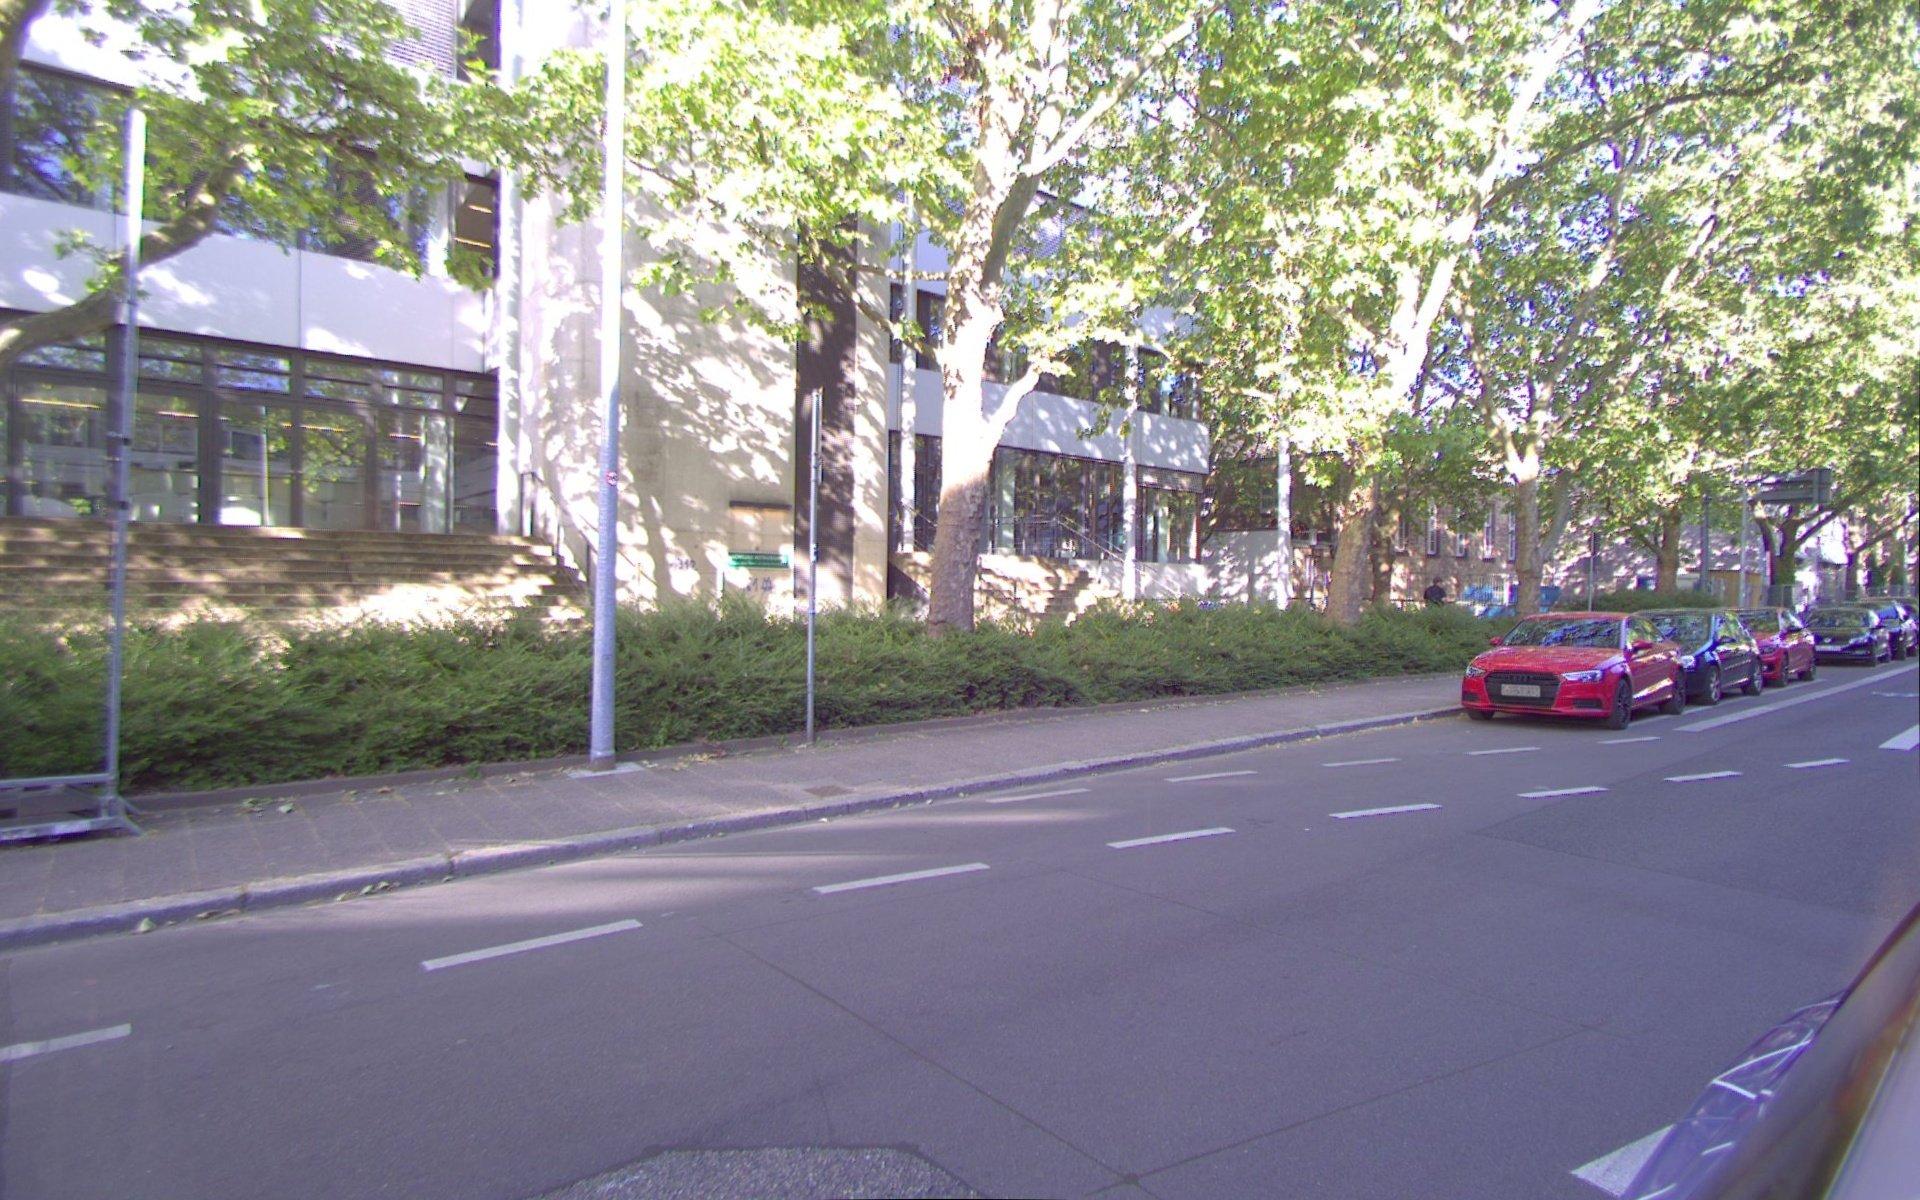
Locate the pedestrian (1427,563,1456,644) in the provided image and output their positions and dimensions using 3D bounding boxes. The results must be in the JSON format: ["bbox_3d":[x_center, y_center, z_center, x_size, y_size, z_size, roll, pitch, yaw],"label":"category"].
[{"bbox_3d":[12.345,0.075,25.934,0.549,2.039,0.555,0,0,38],"label":"pedestrian"}]

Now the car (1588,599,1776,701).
[{"bbox_3d":[11.858,0.726,16.556,3.632,1.436,1.668,-1,0,-40],"label":"car"}]

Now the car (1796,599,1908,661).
[{"bbox_3d":[22.950,0.707,25.999,3.855,1.441,1.691,-1,0,-41],"label":"car"}]

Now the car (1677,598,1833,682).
[{"bbox_3d":[15.745,0.704,19.983,3.854,1.467,1.691,-1,0,-40],"label":"car"}]

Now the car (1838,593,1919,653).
[{"bbox_3d":[26.635,0.598,29.057,4.158,1.598,1.632,-1,0,-41],"label":"car"}]

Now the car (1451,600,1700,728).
[{"bbox_3d":[8.304,0.733,13.526,3.931,1.409,1.792,-1,0,-42],"label":"car"}]

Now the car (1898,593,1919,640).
[{"bbox_3d":[35.536,0.566,36.797,4.497,1.633,1.632,-1,0,-41],"label":"car"}]

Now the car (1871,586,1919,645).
[{"bbox_3d":[31.173,0.467,33.026,4.497,1.814,1.632,-1,0,-41],"label":"car"}]
